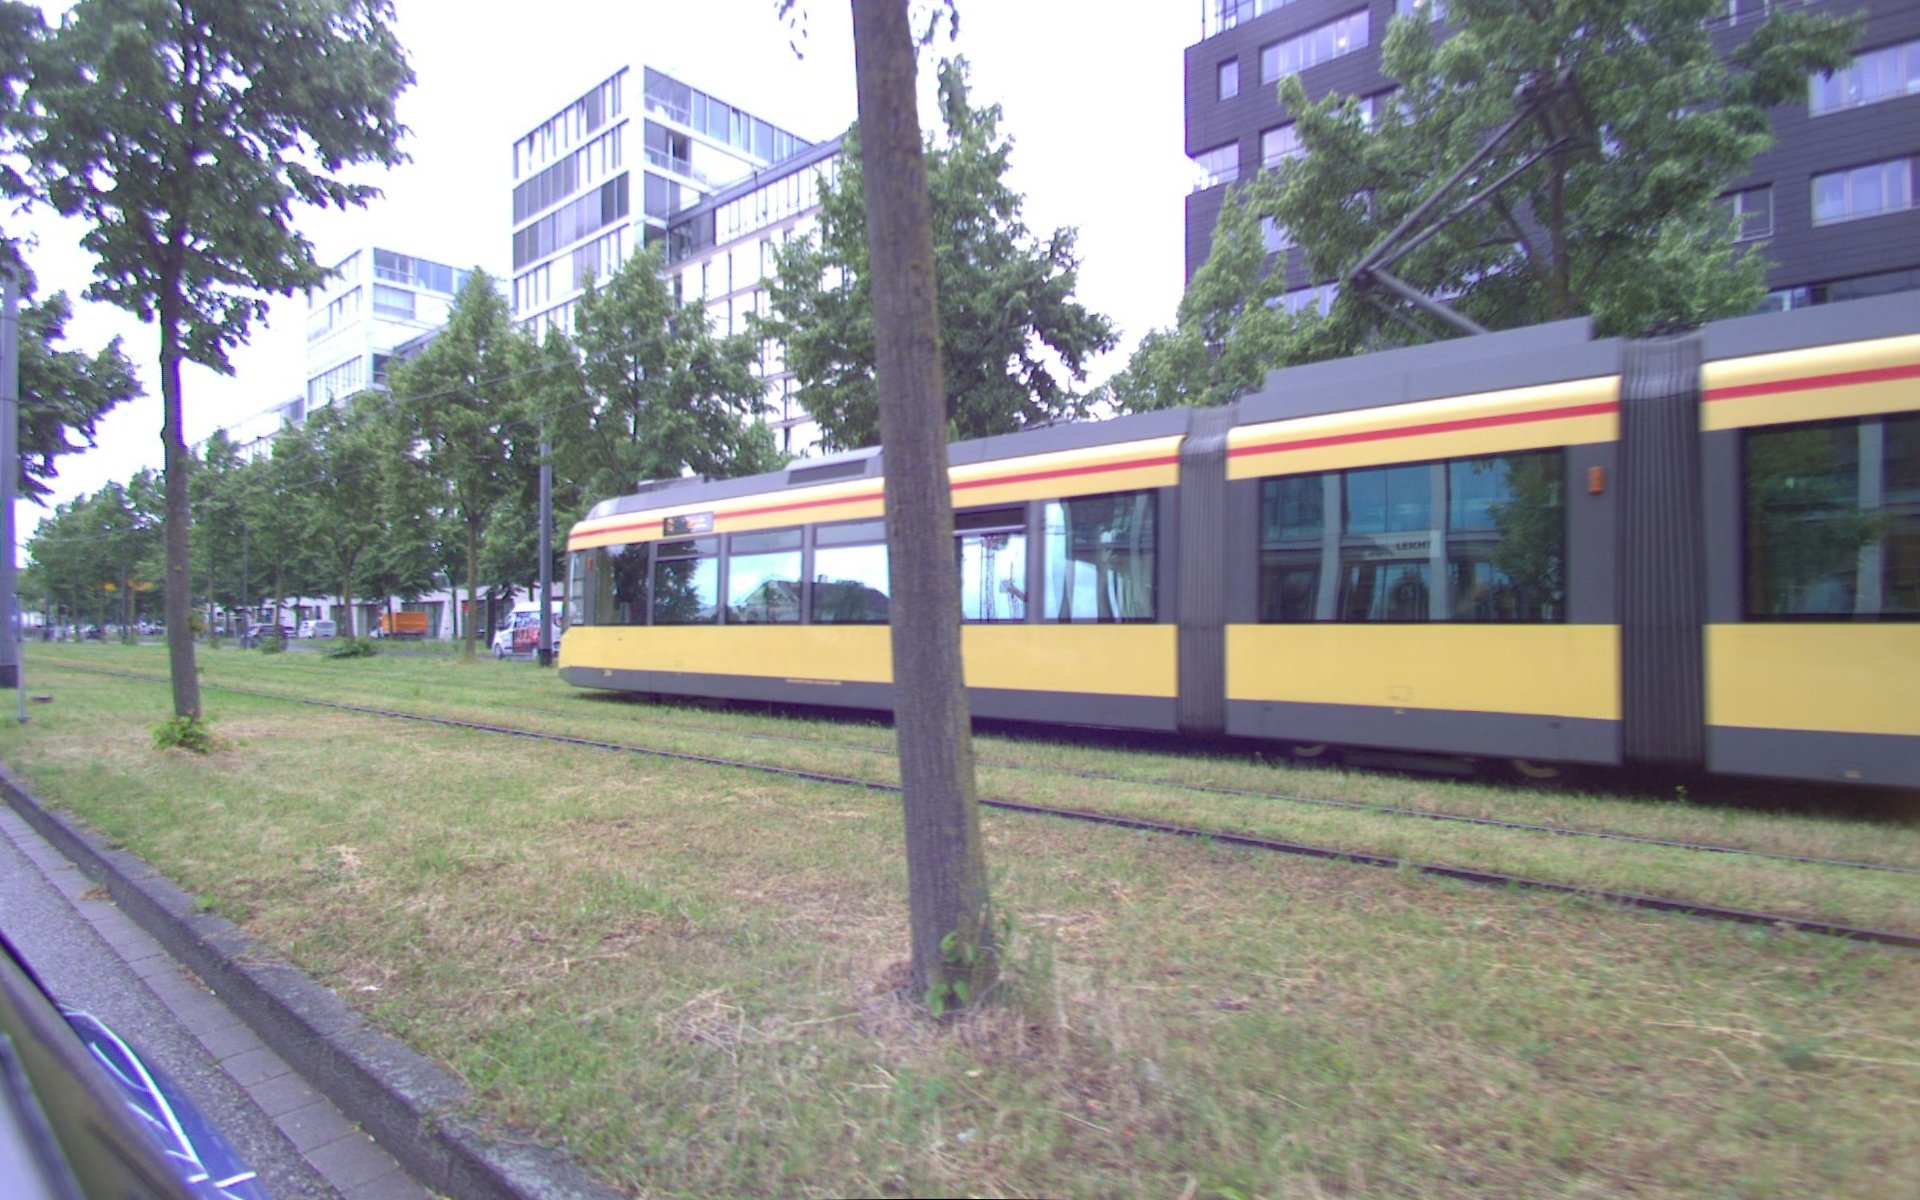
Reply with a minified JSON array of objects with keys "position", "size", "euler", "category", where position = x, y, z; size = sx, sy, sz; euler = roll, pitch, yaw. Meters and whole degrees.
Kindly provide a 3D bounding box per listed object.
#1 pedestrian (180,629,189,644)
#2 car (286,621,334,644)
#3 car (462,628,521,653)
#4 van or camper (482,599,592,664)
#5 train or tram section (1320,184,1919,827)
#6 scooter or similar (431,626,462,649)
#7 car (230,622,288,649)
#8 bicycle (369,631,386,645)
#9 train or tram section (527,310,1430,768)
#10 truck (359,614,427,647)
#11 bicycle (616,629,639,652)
[{"position":[-89.082,4.158,116.250],"size":[0.793,1.704,0.703],"euler":[-2,-1,44],"category":"pedestrian"},{"position":[-54.707,2.689,85.171],"size":[5.161,1.866,1.973],"euler":[-2,-1,40],"category":"car"},{"position":[-28.672,2.449,61.918],"size":[3.986,1.476,1.836],"euler":[-2,-2,41],"category":"car"},{"position":[-16.952,1.250,40.424],"size":[5.400,2.429,1.889],"euler":[-2,-2,42],"category":"van or camper"},{"position":[9.574,-0.633,4.290],"size":[15.056,3.686,3.096],"euler":[-2,-1,41],"category":"train or tram section"},{"position":[-42.403,3.102,83.621],"size":[0.883,1.838,2.105],"euler":[-2,-1,37],"category":"scooter or similar"},{"position":[-41.603,2.091,60.036],"size":[4.477,1.536,1.843],"euler":[-2,-2,42],"category":"car"},{"position":[-40.445,2.610,70.265],"size":[1.758,0.952,0.592],"euler":[-2,-2,45],"category":"bicycle"},{"position":[-1.204,-0.357,13.739],"size":[13.399,3.686,3.096],"euler":[-2,-1,41],"category":"train or tram section"},{"position":[-41.747,2.262,74.498],"size":[6.305,2.309,2.401],"euler":[-2,-1,41],"category":"truck"},{"position":[-22.721,2.772,69.232],"size":[0.546,1.494,1.417],"euler":[-2,-1,40],"category":"bicycle"}]
